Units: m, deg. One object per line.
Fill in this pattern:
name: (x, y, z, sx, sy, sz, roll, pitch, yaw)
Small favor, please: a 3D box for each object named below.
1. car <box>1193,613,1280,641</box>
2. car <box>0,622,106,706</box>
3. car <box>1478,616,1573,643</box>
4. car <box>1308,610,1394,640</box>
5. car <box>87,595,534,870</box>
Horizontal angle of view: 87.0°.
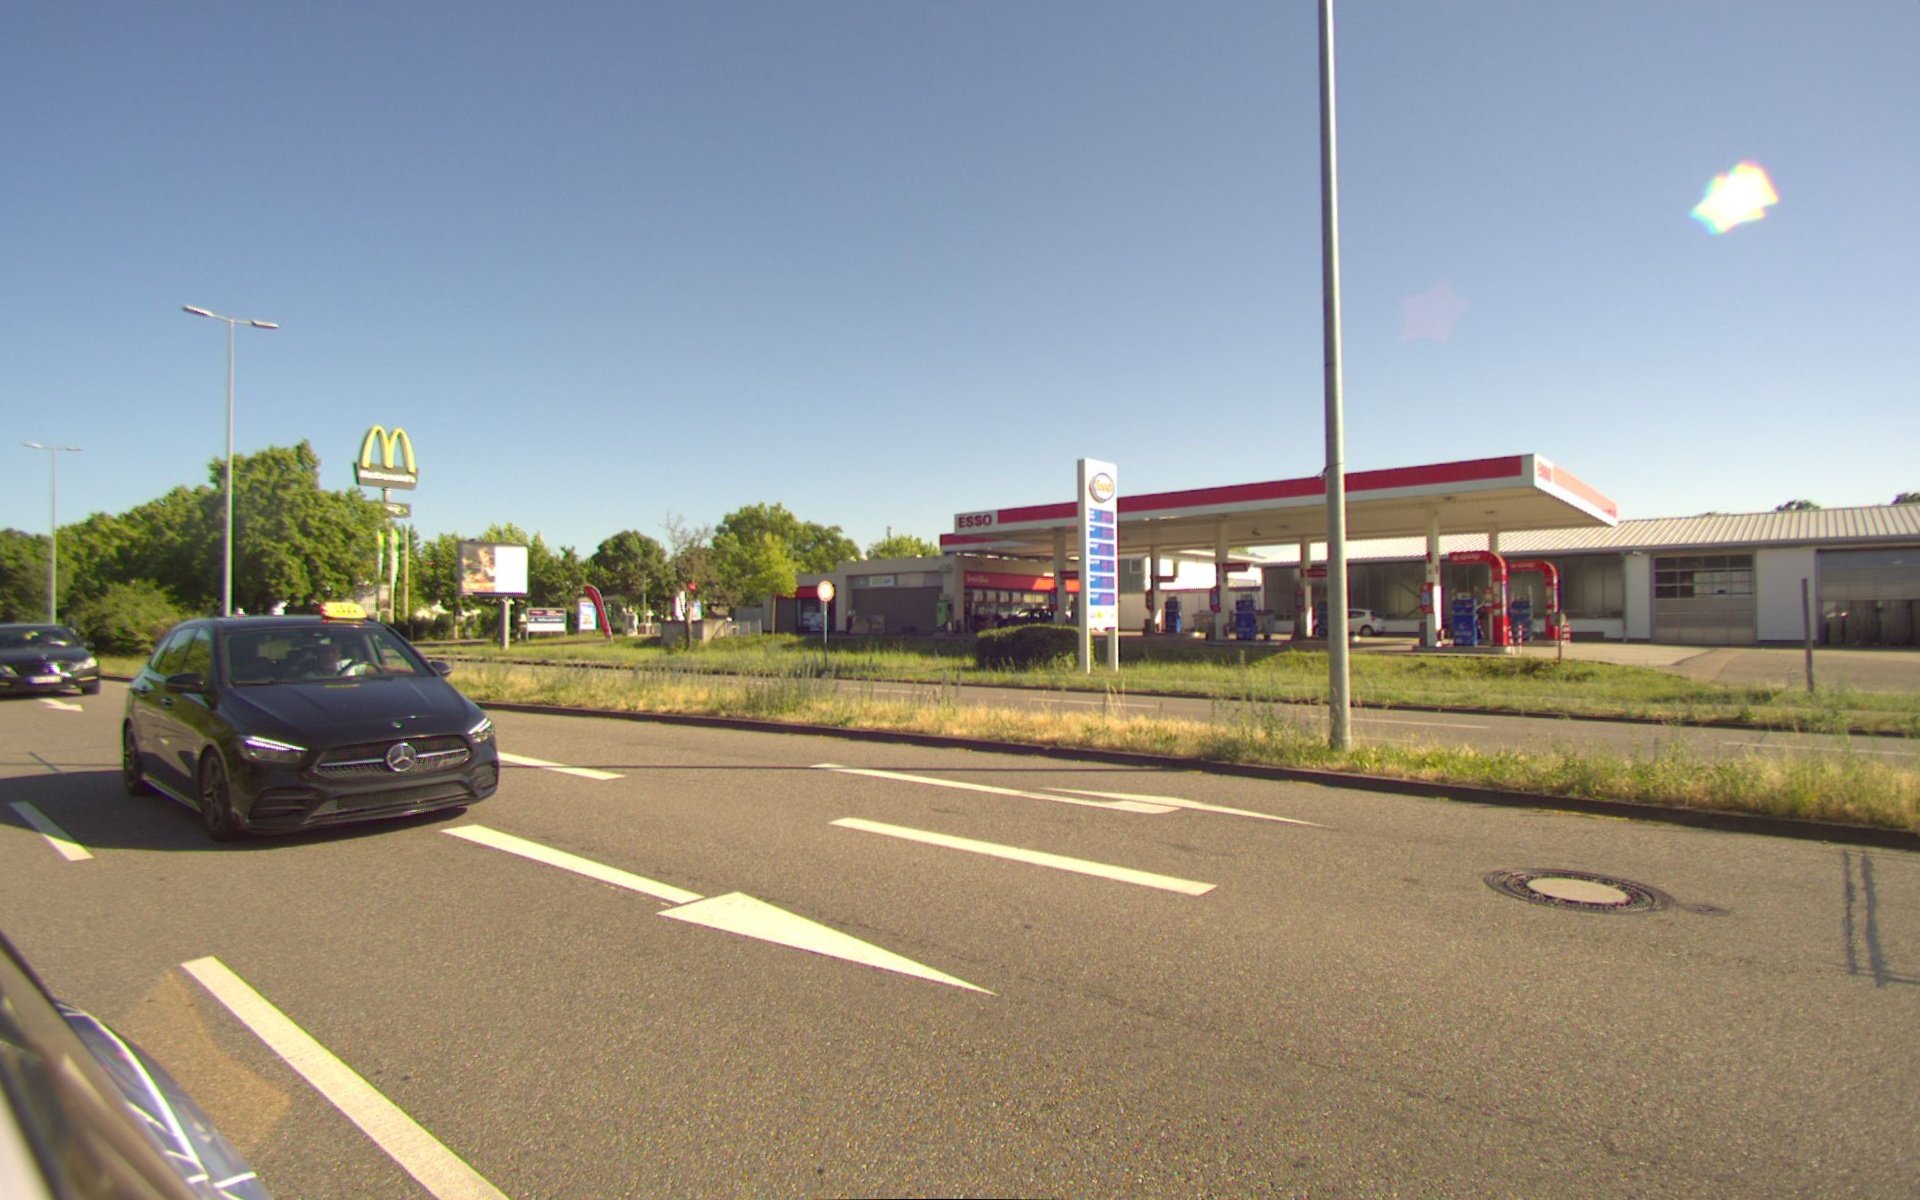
car: (16.073, 1.544, 58.967, 4.540, 1.477, 1.973, -1, 0, 41)
car: (-19.229, 1.240, 20.788, 4.461, 1.521, 1.927, -1, 0, 41)
car: (27.147, 1.399, 48.604, 3.729, 1.196, 1.658, -1, 0, 41)
car: (20.910, 1.318, 54.110, 3.855, 1.500, 1.973, -1, 0, 41)
car: (-5.392, 0.831, 8.121, 4.580, 1.614, 1.765, -2, -1, 40)
